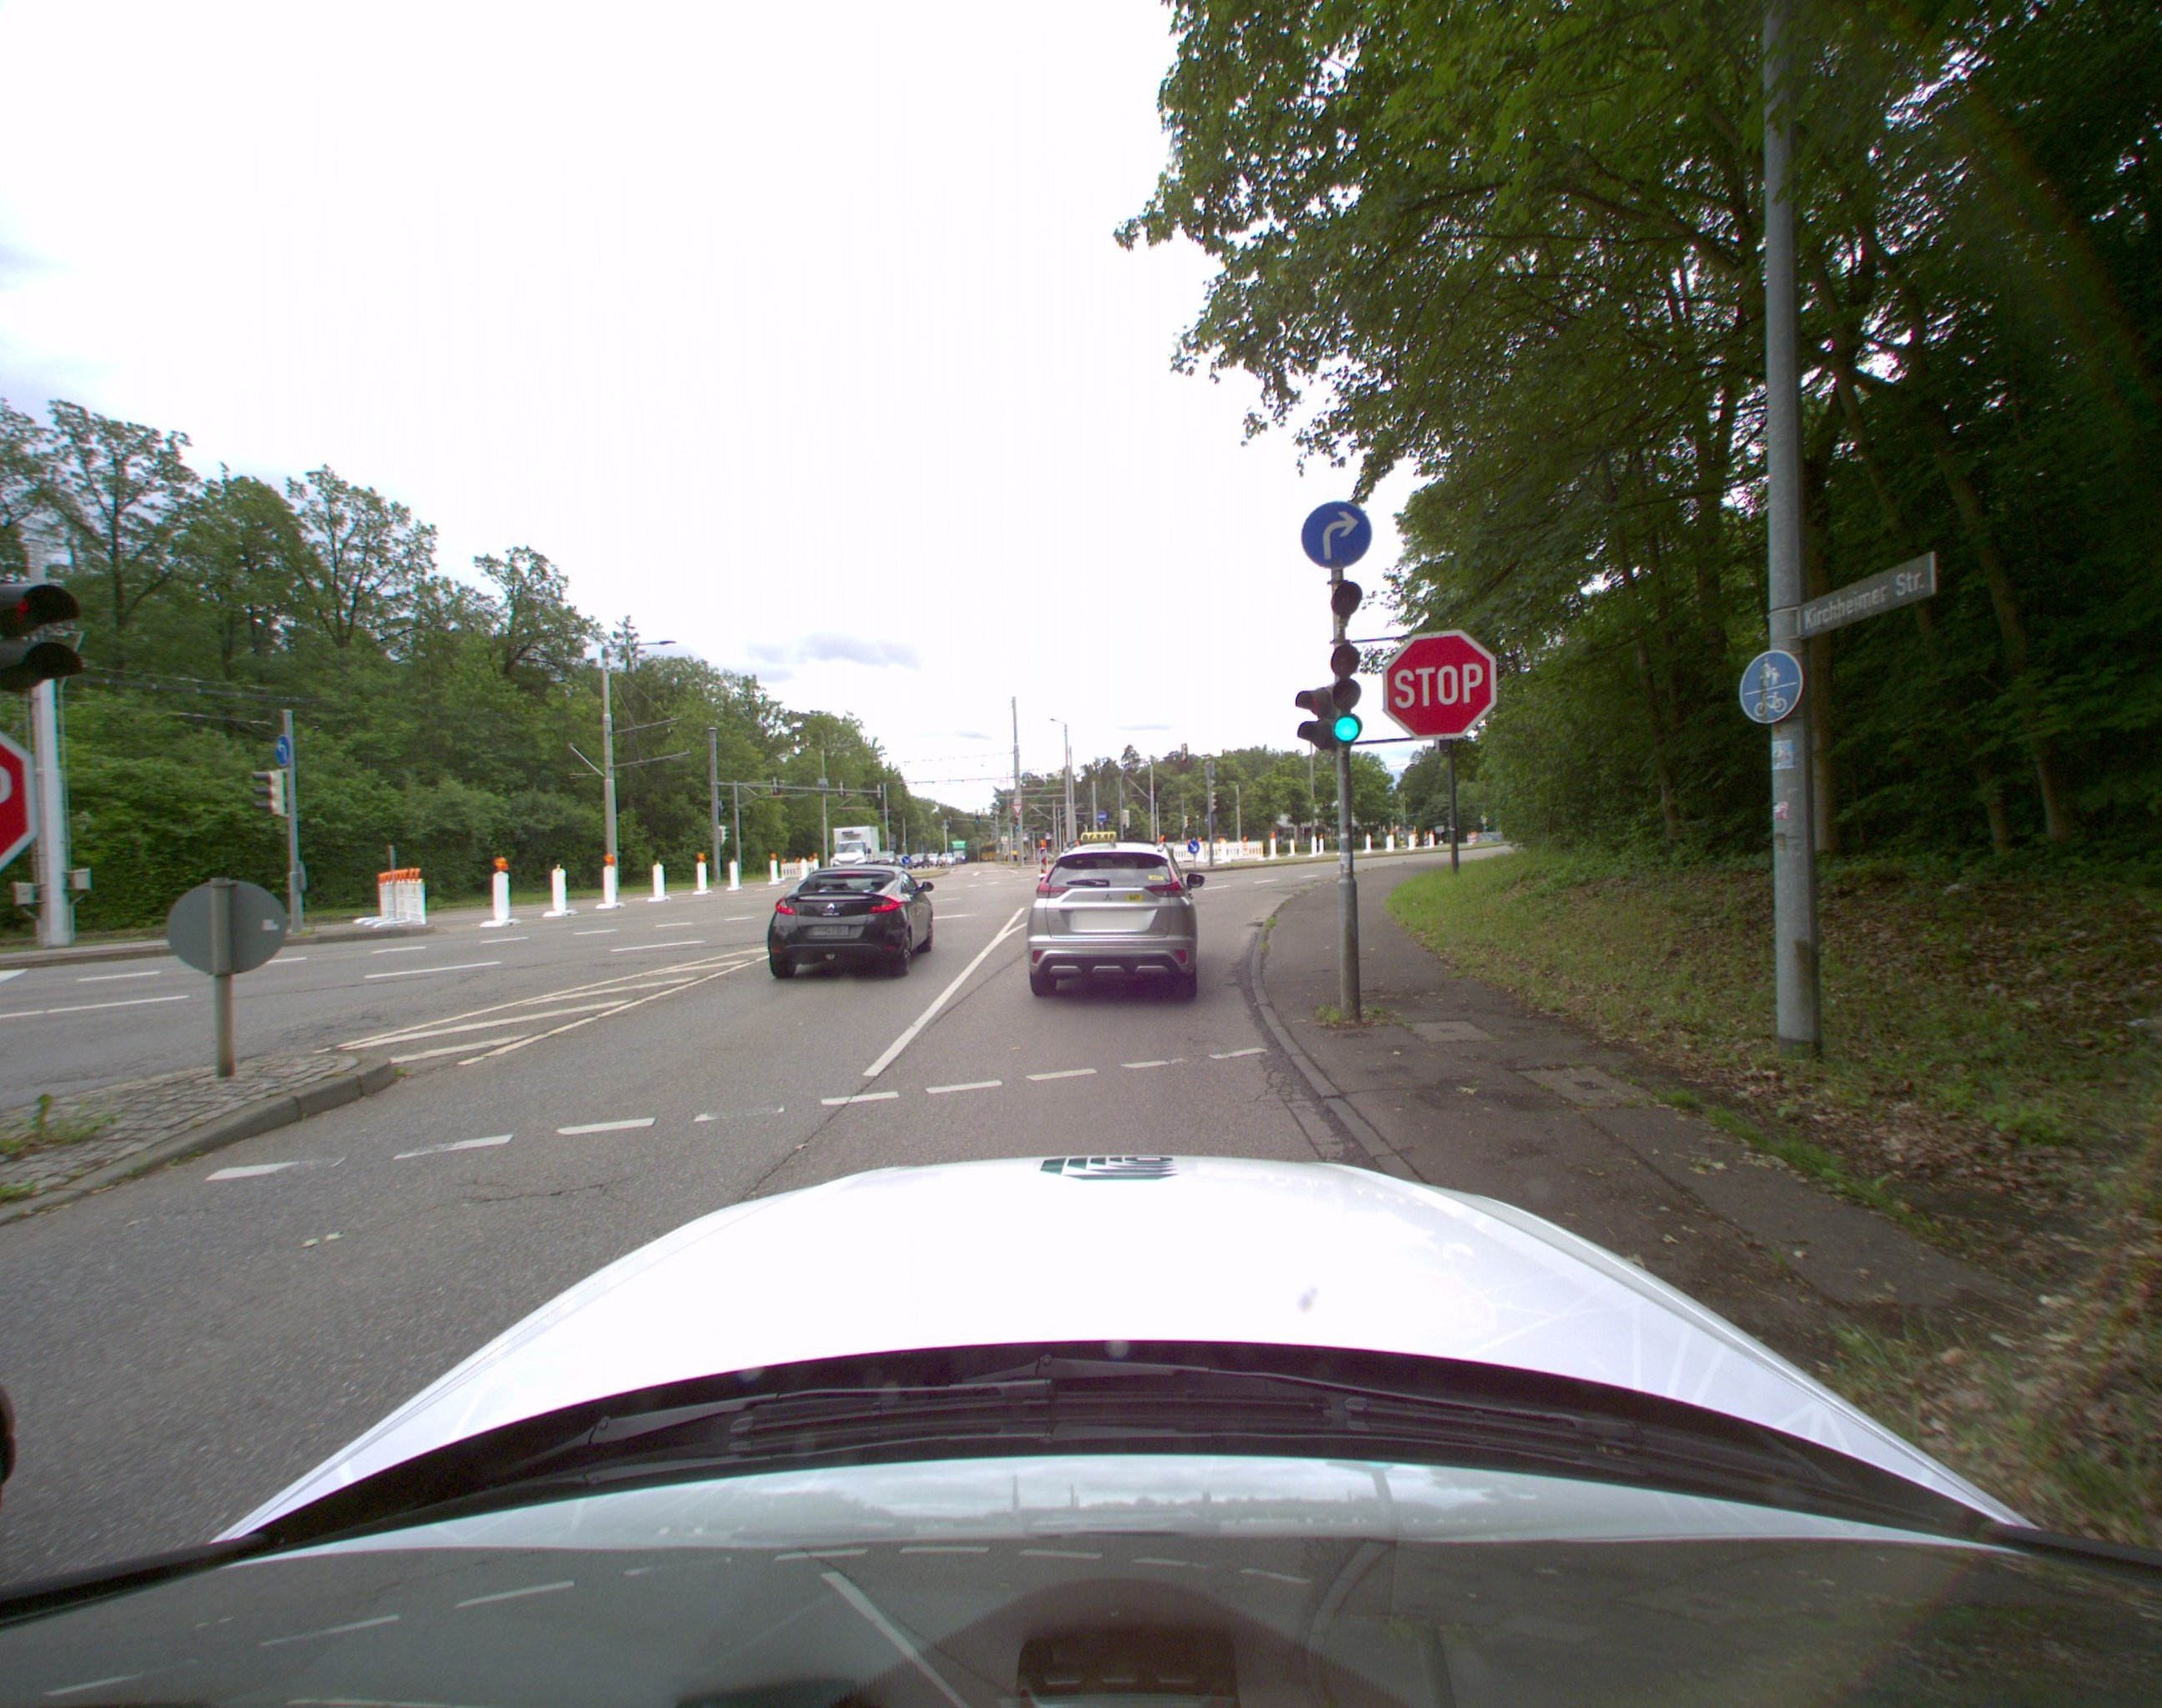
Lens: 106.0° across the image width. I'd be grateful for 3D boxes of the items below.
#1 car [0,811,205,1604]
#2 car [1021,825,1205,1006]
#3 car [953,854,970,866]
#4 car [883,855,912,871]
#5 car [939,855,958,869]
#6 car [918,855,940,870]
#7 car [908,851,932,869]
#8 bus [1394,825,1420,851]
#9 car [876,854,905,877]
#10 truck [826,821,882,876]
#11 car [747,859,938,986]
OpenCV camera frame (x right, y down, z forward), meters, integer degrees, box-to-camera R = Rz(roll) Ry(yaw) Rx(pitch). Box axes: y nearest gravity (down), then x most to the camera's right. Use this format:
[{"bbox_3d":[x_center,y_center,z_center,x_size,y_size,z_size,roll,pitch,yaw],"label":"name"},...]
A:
[{"bbox_3d":[-2.911,0.745,0.626,1.453,1.586,2.726,-3,0,-1],"label":"car"},{"bbox_3d":[0.465,0.597,9.812,1.765,1.748,3.785,-1,0,5],"label":"car"},{"bbox_3d":[-16.889,0.871,115.471,1.958,1.540,4.303,-3,0,-5],"label":"car"},{"bbox_3d":[-17.435,0.861,77.598,1.958,1.361,4.682,-3,0,-5],"label":"car"},{"bbox_3d":[-16.528,0.961,102.003,1.958,1.541,4.389,-3,0,-5],"label":"car"},{"bbox_3d":[-17.870,0.958,95.894,1.958,1.607,4.303,-3,0,-5],"label":"car"},{"bbox_3d":[-17.435,0.663,88.410,1.958,1.845,4.682,-3,0,-5],"label":"car"},{"bbox_3d":[48.057,-2.359,120.257,2.798,3.603,12.866,-2,1,19],"label":"bus"},{"bbox_3d":[-16.042,0.920,68.774,1.961,1.750,4.831,-3,0,-9],"label":"car"},{"bbox_3d":[-14.873,-0.318,53.815,2.447,3.224,7.137,-3,0,-7],"label":"truck"},{"bbox_3d":[-3.080,0.801,11.237,1.771,1.361,3.471,-3,0,-4],"label":"car"}]
